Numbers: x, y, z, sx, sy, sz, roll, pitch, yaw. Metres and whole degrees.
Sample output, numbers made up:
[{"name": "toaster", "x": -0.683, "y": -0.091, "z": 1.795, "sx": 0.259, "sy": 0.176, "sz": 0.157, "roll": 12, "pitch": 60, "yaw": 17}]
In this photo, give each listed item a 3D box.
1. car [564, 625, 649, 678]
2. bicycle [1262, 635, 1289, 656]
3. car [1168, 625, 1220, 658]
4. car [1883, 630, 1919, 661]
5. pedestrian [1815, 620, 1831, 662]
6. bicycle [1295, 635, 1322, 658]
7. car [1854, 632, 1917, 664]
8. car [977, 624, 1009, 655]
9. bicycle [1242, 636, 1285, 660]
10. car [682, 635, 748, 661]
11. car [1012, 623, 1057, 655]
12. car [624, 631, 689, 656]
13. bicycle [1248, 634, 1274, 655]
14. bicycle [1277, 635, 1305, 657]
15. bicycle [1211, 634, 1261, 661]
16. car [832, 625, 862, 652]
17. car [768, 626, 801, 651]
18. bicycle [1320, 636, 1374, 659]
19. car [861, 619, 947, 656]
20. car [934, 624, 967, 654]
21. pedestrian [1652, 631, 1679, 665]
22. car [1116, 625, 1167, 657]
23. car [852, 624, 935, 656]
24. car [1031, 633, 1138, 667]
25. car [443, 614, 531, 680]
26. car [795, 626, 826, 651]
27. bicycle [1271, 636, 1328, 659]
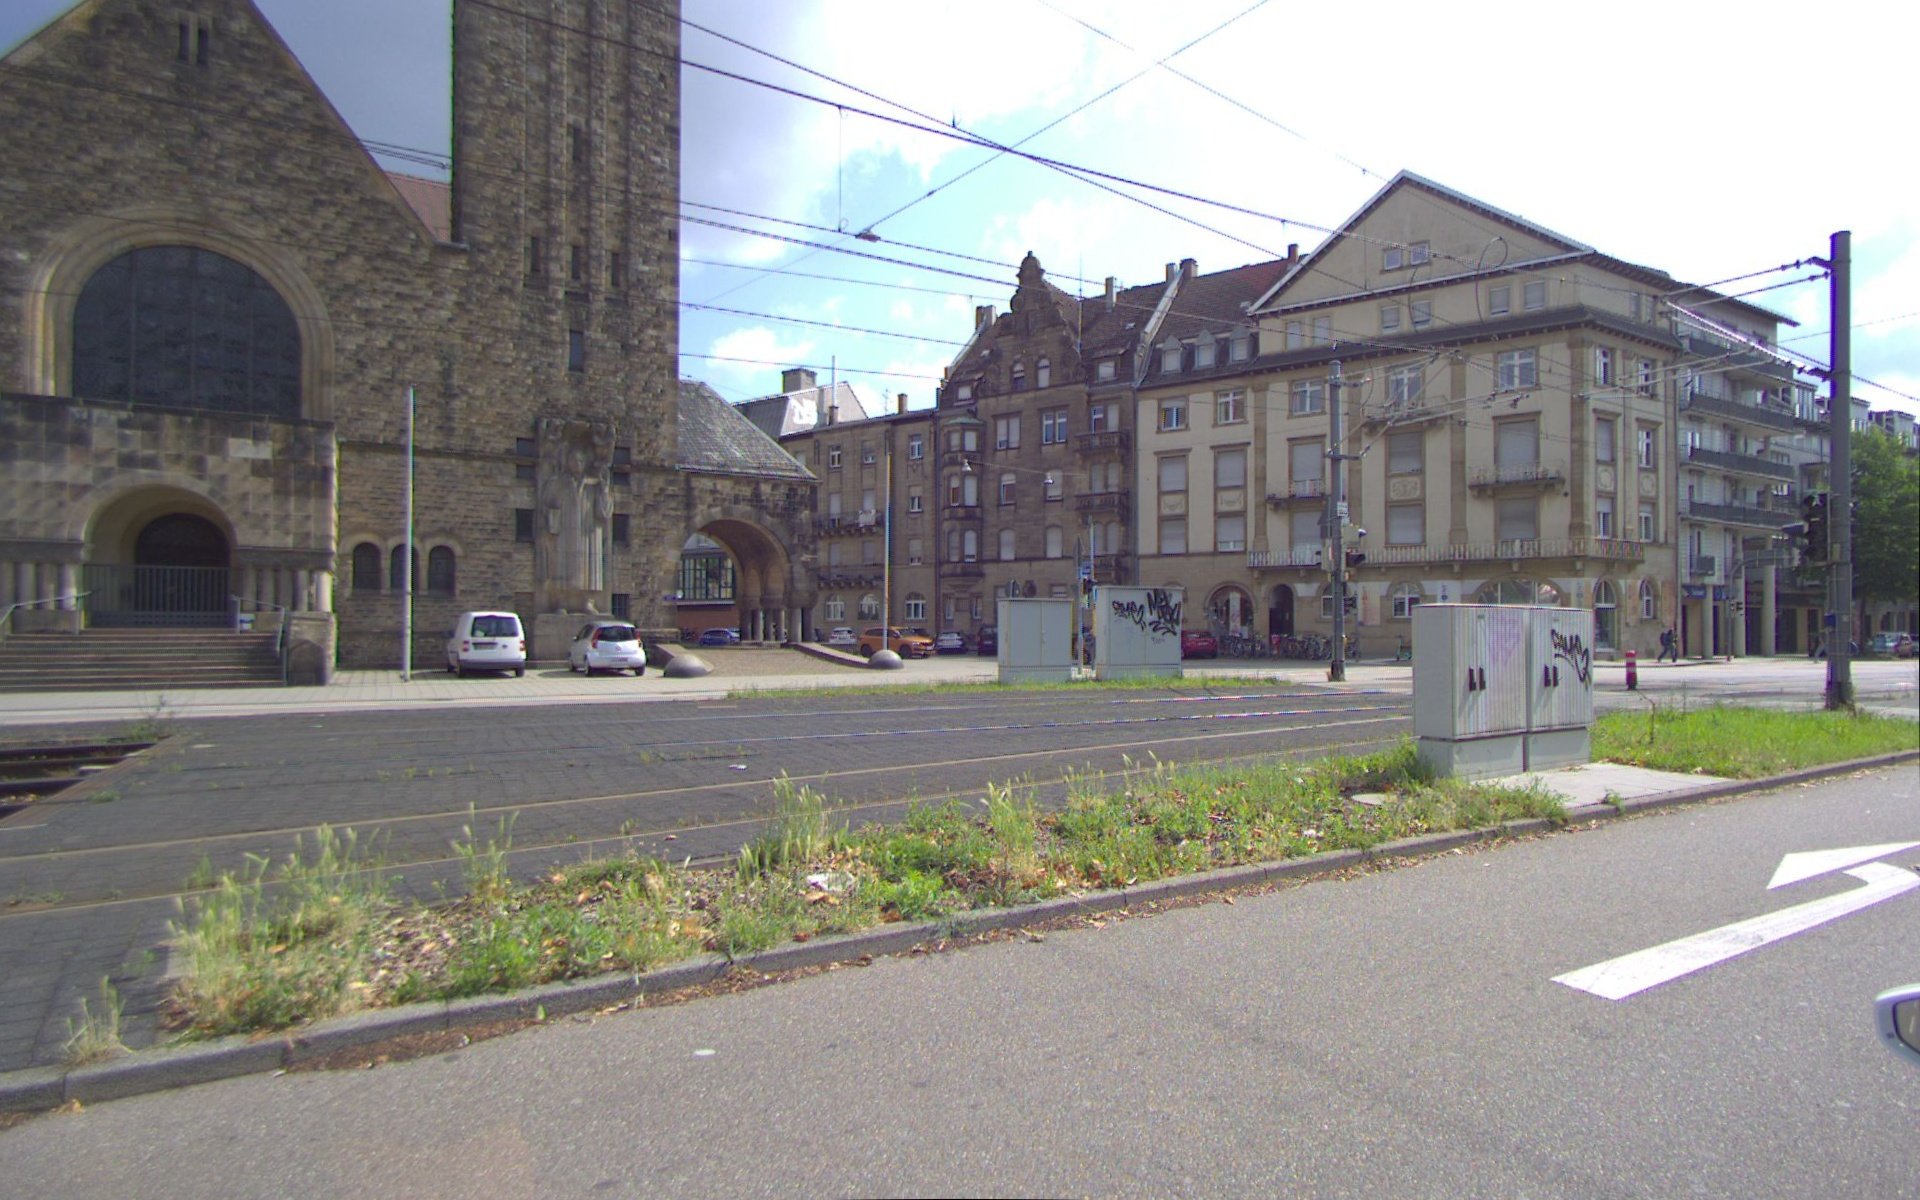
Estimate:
[{"name": "car", "x": -10.715, "y": 1.509, "z": 30.352, "sx": 1.833, "sy": 1.522, "sz": 3.249, "roll": 1, "pitch": -2, "yaw": -31}, {"name": "bicycle", "x": 16.062, "y": 2.300, "z": 51.144, "sx": 0.729, "sy": 1.067, "sz": 2.561, "roll": -1, "pitch": -2, "yaw": 31}, {"name": "car", "x": 12.179, "y": 2.142, "z": 52.552, "sx": 1.960, "sy": 1.696, "sz": 4.002, "roll": 0, "pitch": -2, "yaw": 3}, {"name": "car", "x": 64.757, "y": 3.059, "z": 68.221, "sx": 3.953, "sy": 2.040, "sz": 1.984, "roll": 1, "pitch": -2, "yaw": -30}, {"name": "pedestrian", "x": 41.615, "y": 1.973, "z": 48.411, "sx": 0.415, "sy": 2.040, "sz": 0.474, "roll": 1, "pitch": -2, "yaw": -35}, {"name": "bicycle", "x": 17.441, "y": 2.310, "z": 50.221, "sx": 0.792, "sy": 1.067, "sz": 2.561, "roll": -1, "pitch": -2, "yaw": 31}, {"name": "car", "x": 60.727, "y": 3.114, "z": 65.913, "sx": 3.953, "sy": 2.040, "sz": 1.984, "roll": 1, "pitch": -2, "yaw": -30}, {"name": "car", "x": 1.923, "y": 2.325, "z": 59.898, "sx": 1.850, "sy": 1.782, "sz": 4.001, "roll": 0, "pitch": -2, "yaw": 1}, {"name": "bicycle", "x": 14.790, "y": 2.319, "z": 48.954, "sx": 1.939, "sy": 1.129, "sz": 0.487, "roll": -1, "pitch": -1, "yaw": 24}, {"name": "car", "x": -14.522, "y": 2.825, "z": 59.443, "sx": 3.933, "sy": 1.449, "sz": 1.532, "roll": -1, "pitch": -2, "yaw": 34}, {"name": "car", "x": 4.295, "y": 2.239, "z": 58.285, "sx": 1.962, "sy": 1.758, "sz": 3.998, "roll": 0, "pitch": -2, "yaw": -5}, {"name": "car", "x": -17.910, "y": 2.540, "z": 59.252, "sx": 3.719, "sy": 1.449, "sz": 1.709, "roll": -1, "pitch": -2, "yaw": 34}, {"name": "bicycle", "x": 15.582, "y": 2.303, "z": 51.940, "sx": 0.729, "sy": 1.067, "sz": 2.360, "roll": -1, "pitch": -2, "yaw": 31}, {"name": "bicycle", "x": 16.725, "y": 2.305, "z": 50.673, "sx": 0.792, "sy": 1.067, "sz": 2.561, "roll": -1, "pitch": -2, "yaw": 31}, {"name": "bicycle", "x": 14.076, "y": 2.405, "z": 51.317, "sx": 0.982, "sy": 1.270, "sz": 3.313, "roll": 0, "pitch": -2, "yaw": -13}, {"name": "car", "x": -7.477, "y": 2.536, "z": 66.589, "sx": 1.686, "sy": 1.706, "sz": 4.000, "roll": 0, "pitch": -2, "yaw": -2}, {"name": "car", "x": -12.193, "y": 2.636, "z": 69.820, "sx": 1.707, "sy": 1.693, "sz": 4.038, "roll": 0, "pitch": -2, "yaw": -2}, {"name": "bicycle", "x": 18.911, "y": 2.311, "z": 49.133, "sx": 2.525, "sy": 1.067, "sz": 0.803, "roll": 0, "pitch": -1, "yaw": -18}, {"name": "car", "x": -3.239, "y": 2.135, "z": 57.821, "sx": 4.727, "sy": 2.040, "sz": 1.994, "roll": -1, "pitch": -2, "yaw": 35}, {"name": "car", "x": -0.572, "y": 2.363, "z": 61.764, "sx": 1.960, "sy": 1.760, "sz": 4.001, "roll": 0, "pitch": -2, "yaw": 1}, {"name": "pedestrian", "x": 33.731, "y": 2.297, "z": 48.044, "sx": 0.844, "sy": 1.617, "sz": 0.694, "roll": 0, "pitch": -1, "yaw": 14}, {"name": "car", "x": 9.817, "y": 2.204, "z": 54.610, "sx": 1.768, "sy": 1.661, "sz": 3.998, "roll": 0, "pitch": -2, "yaw": -5}, {"name": "car", "x": -3.438, "y": 2.014, "z": 51.404, "sx": 4.258, "sy": 1.567, "sz": 1.625, "roll": -1, "pitch": -2, "yaw": 37}, {"name": "car", "x": 5.475, "y": 2.182, "z": 44.550, "sx": 4.498, "sy": 1.455, "sz": 1.700, "roll": -1, "pitch": -2, "yaw": 37}, {"name": "car", "x": -13.878, "y": 1.328, "z": 29.372, "sx": 1.874, "sy": 1.771, "sz": 3.849, "roll": 1, "pitch": -2, "yaw": -32}, {"name": "car", "x": -10.212, "y": 2.620, "z": 68.884, "sx": 1.653, "sy": 1.697, "sz": 4.000, "roll": 0, "pitch": -2, "yaw": -2}, {"name": "bicycle", "x": 16.486, "y": 2.281, "z": 48.782, "sx": 2.522, "sy": 1.067, "sz": 0.680, "roll": -1, "pitch": -2, "yaw": 33}]
